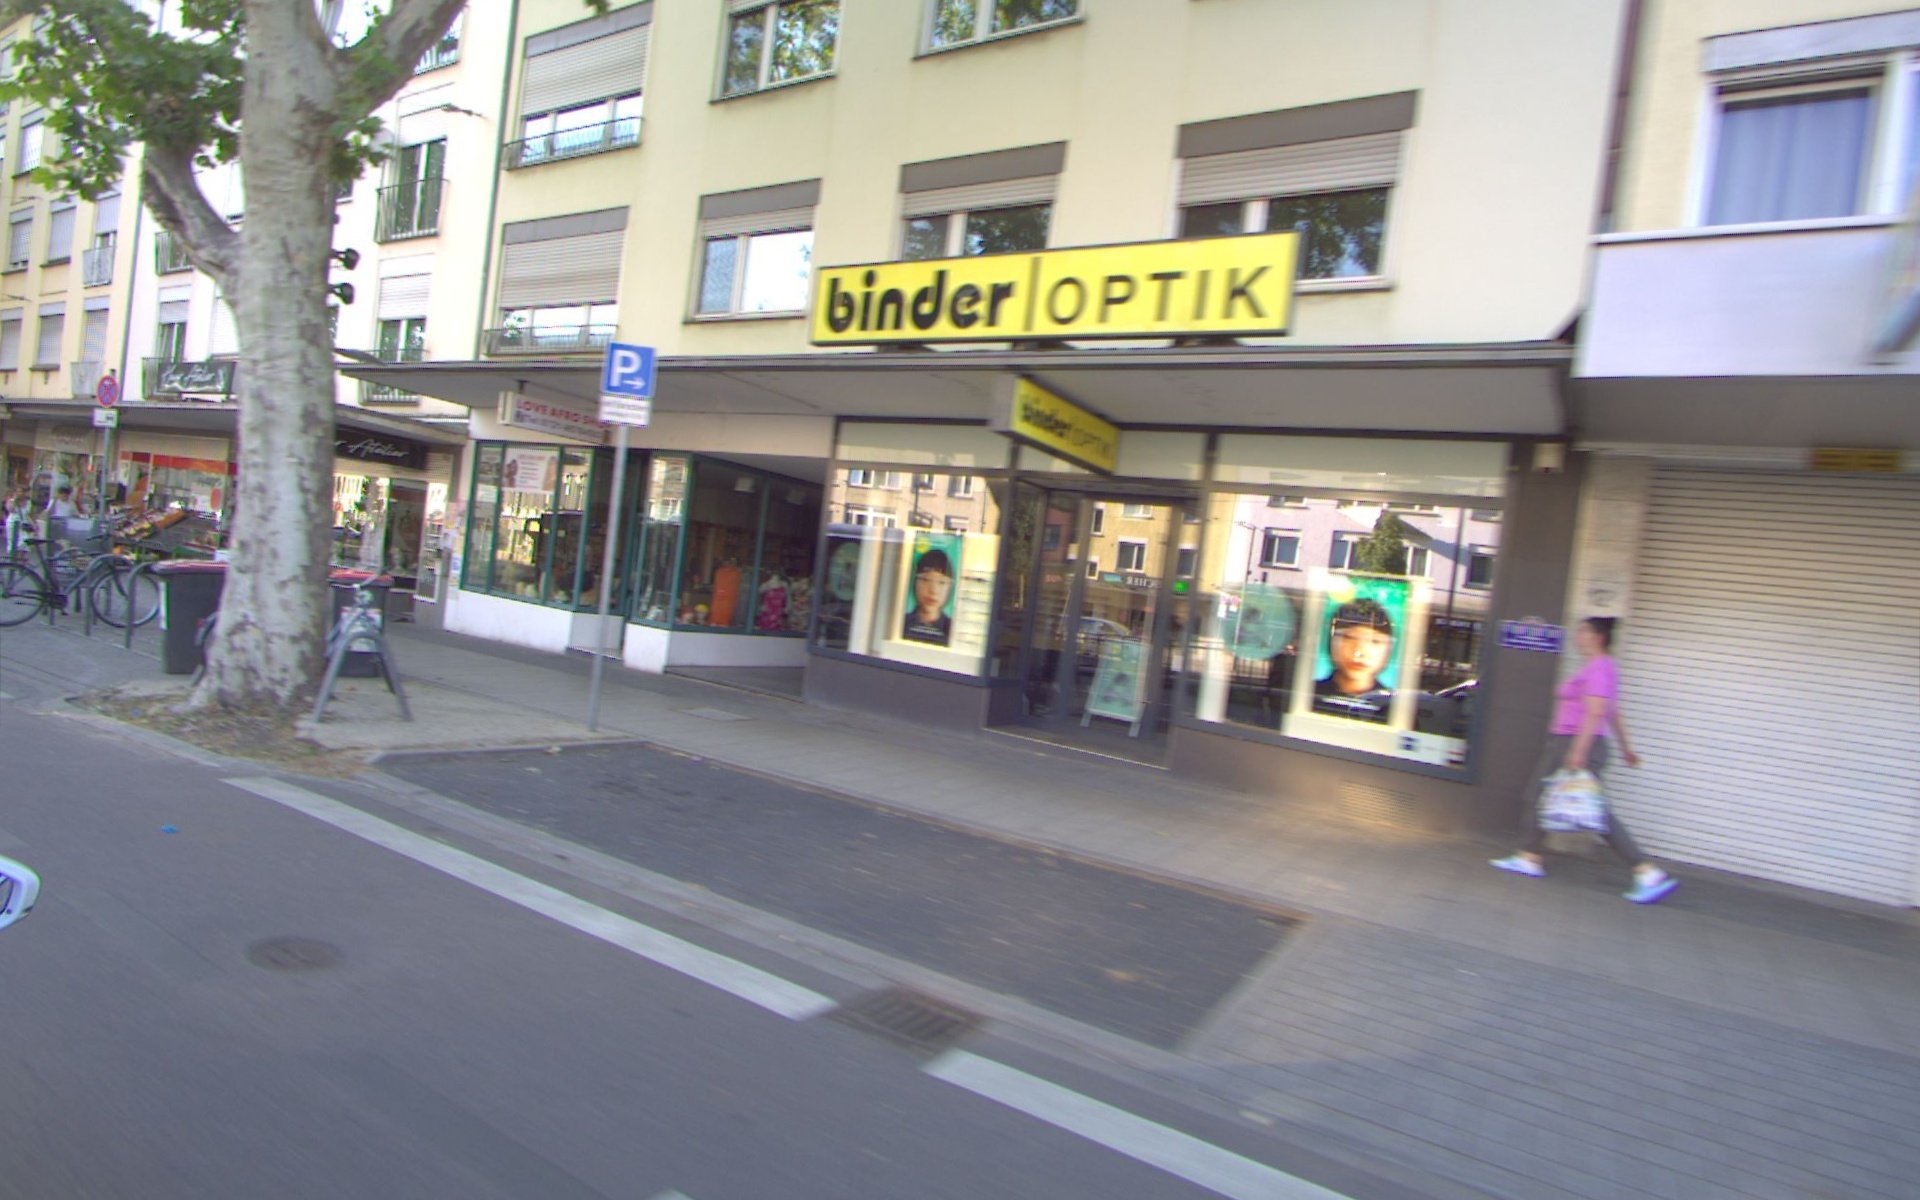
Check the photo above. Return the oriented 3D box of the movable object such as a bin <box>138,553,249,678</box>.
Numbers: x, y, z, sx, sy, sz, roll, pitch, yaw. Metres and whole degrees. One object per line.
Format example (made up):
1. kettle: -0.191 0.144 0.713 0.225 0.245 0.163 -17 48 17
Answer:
1. movable object such as a bin: -7.449 0.139 9.776 0.634 1.118 0.720 7 5 39

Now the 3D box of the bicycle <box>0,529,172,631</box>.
1. bicycle: -10.712 -0.226 12.047 0.510 1.120 1.904 7 3 38

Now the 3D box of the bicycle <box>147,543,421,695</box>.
1. bicycle: -5.705 0.201 8.605 0.734 1.130 1.720 3 -3 32

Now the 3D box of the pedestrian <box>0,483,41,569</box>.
1. pedestrian: -18.348 -1.437 19.463 0.616 1.608 0.635 7 3 31

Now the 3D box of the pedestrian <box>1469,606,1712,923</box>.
1. pedestrian: 4.133 1.003 6.655 1.115 1.786 0.968 6 2 33

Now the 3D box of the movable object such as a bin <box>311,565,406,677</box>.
1. movable object such as a bin: -6.329 0.222 10.590 0.718 1.086 0.637 4 2 -39

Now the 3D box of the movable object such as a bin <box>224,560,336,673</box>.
1. movable object such as a bin: -7.113 0.169 10.532 0.633 1.086 0.722 7 2 30

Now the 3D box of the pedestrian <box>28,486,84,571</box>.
1. pedestrian: -17.995 -1.413 20.028 0.616 1.608 0.622 7 3 31
